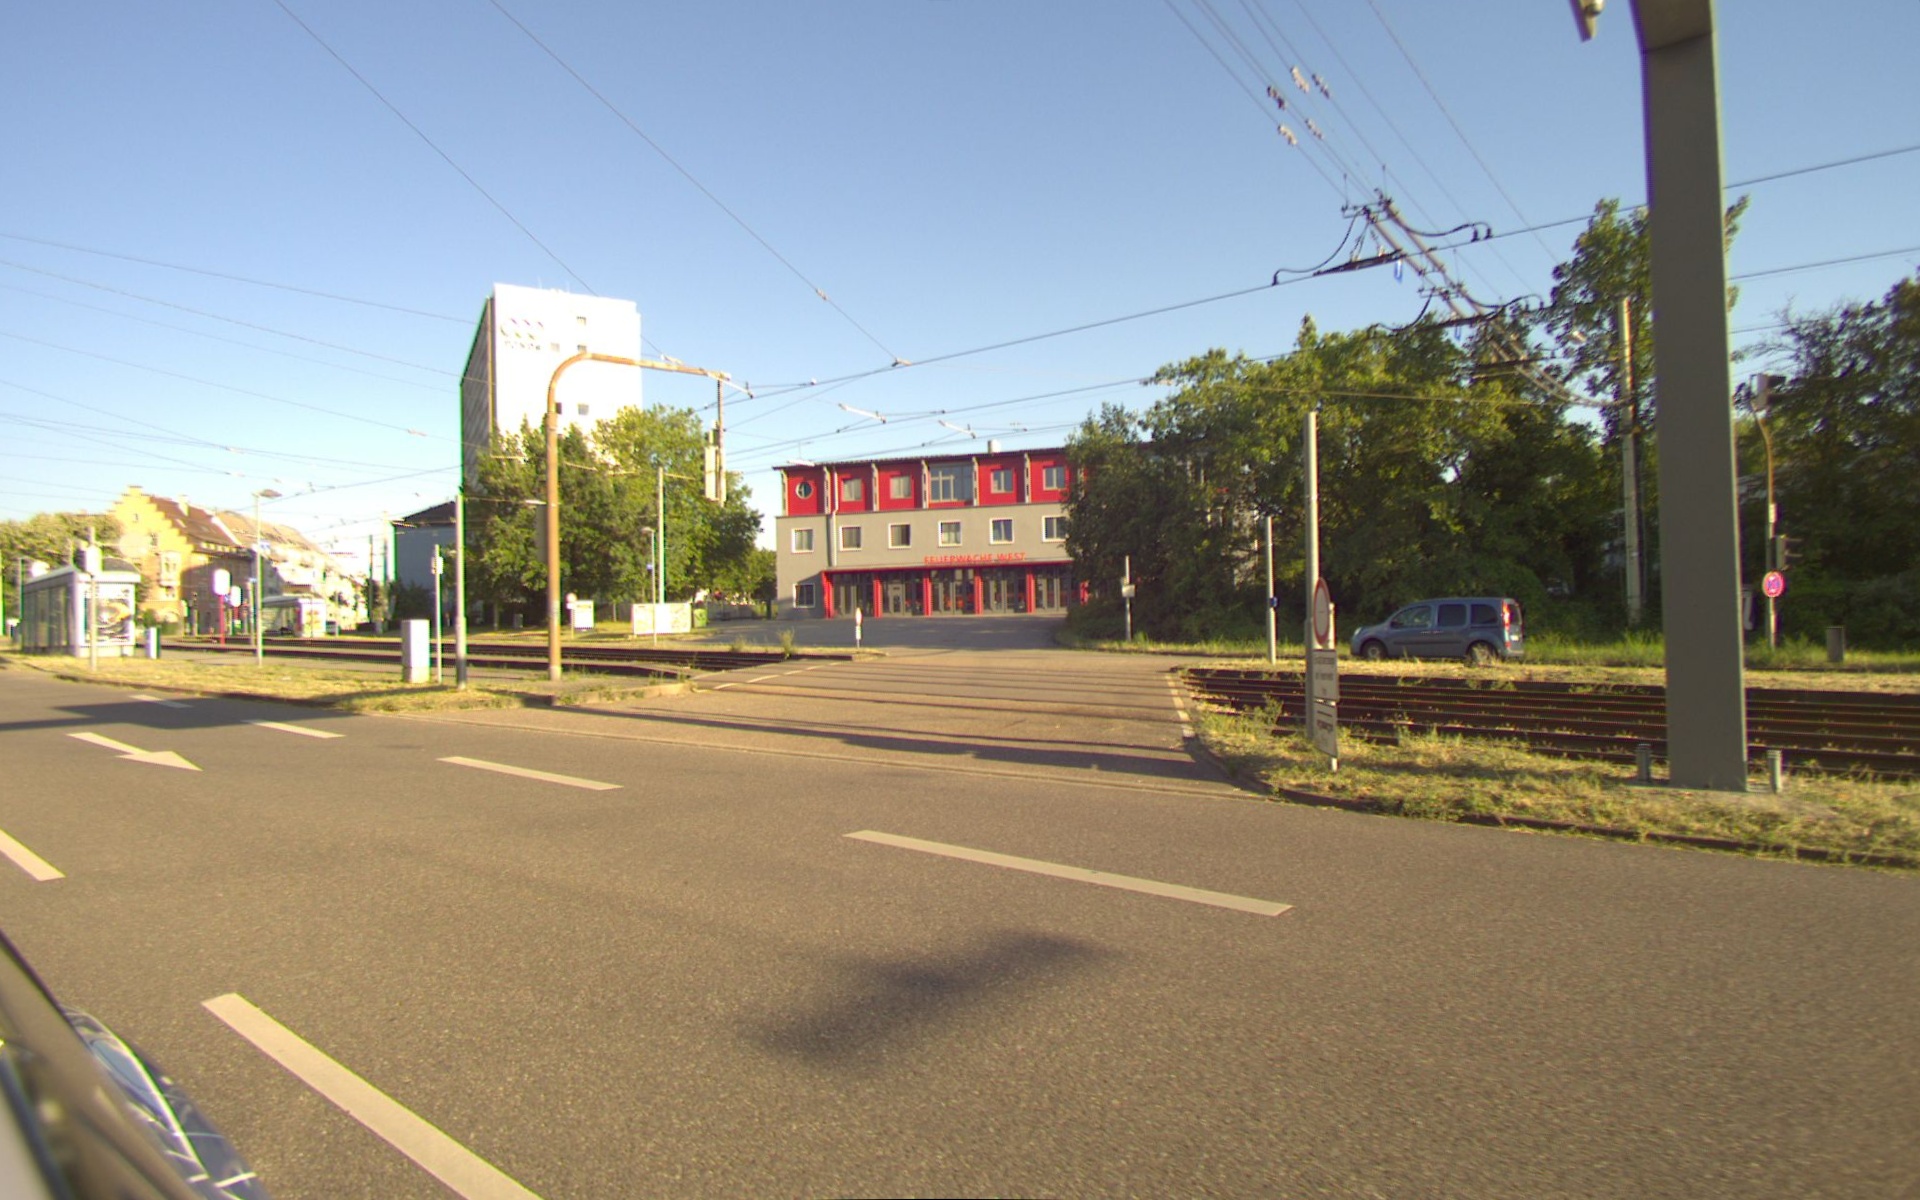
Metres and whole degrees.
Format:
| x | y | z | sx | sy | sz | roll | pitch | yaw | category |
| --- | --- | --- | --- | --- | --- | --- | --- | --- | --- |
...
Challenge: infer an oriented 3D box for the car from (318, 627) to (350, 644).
| x | y | z | sx | sy | sz | roll | pitch | yaw | category |
| --- | --- | --- | --- | --- | --- | --- | --- | --- | --- |
| -58.376 | 3.317 | 94.359 | 1.716 | 1.560 | 4.439 | 0 | -2 | -44 | car |

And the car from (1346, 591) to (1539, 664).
| x | y | z | sx | sy | sz | roll | pitch | yaw | category |
| --- | --- | --- | --- | --- | --- | --- | --- | --- | --- |
| 12.783 | 0.737 | 26.958 | 4.257 | 1.801 | 1.913 | -2 | -2 | 42 | car |
